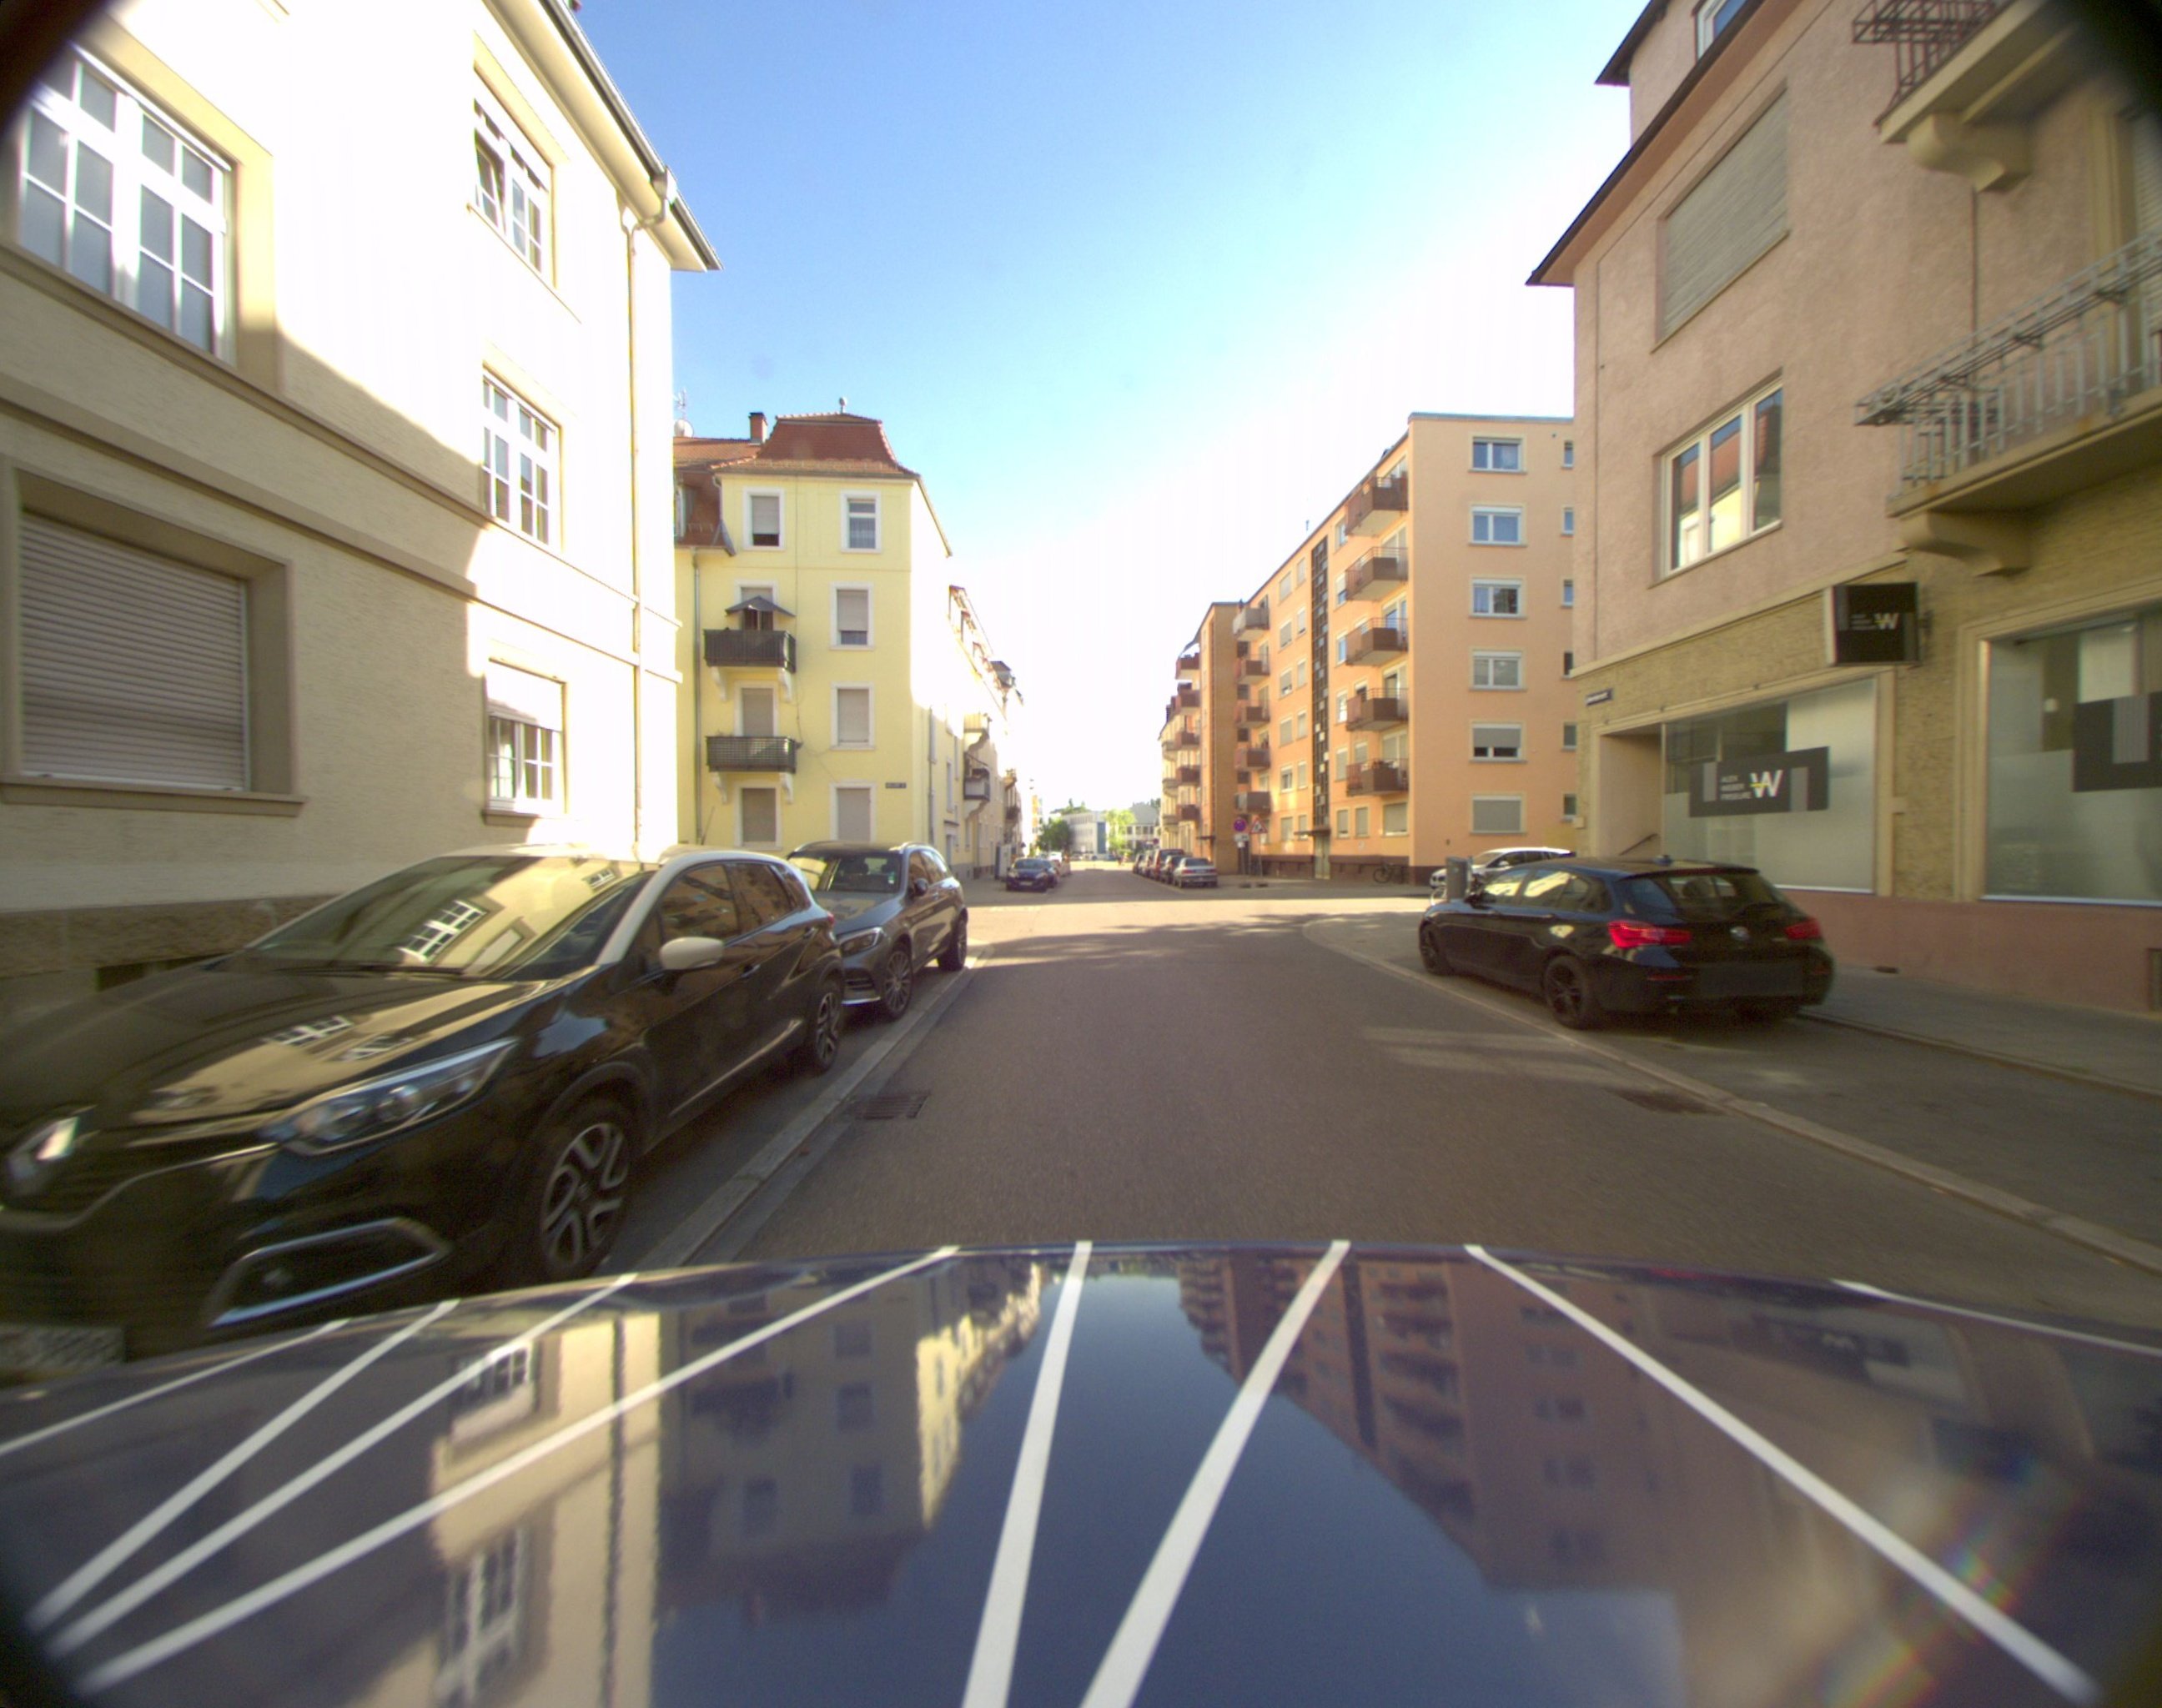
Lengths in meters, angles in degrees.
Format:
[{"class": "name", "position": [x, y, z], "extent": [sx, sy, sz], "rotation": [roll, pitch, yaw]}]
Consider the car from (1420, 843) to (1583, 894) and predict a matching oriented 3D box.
[{"class": "car", "position": [13.686, 0.457, 24.845], "extent": [4.454, 1.551, 1.780], "rotation": [-1, 0, -7]}]

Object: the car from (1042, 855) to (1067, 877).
[{"class": "car", "position": [-1.905, 0.850, 55.959], "extent": [1.708, 1.417, 3.721], "rotation": [1, 1, 0]}]

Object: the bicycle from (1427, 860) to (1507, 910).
[{"class": "bicycle", "position": [9.264, 0.734, 18.252], "extent": [1.664, 1.140, 0.593], "rotation": [-1, 1, -5]}]

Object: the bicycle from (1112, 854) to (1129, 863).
[{"class": "bicycle", "position": [4.983, 0.577, 95.378], "extent": [2.020, 1.041, 0.730], "rotation": [-1, 1, 0]}]

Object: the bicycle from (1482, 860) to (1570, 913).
[{"class": "bicycle", "position": [9.941, 0.720, 16.974], "extent": [1.861, 1.140, 0.435], "rotation": [-1, 1, -10]}]

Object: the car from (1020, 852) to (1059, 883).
[{"class": "car", "position": [-2.023, 0.638, 37.778], "extent": [1.708, 1.417, 3.721], "rotation": [1, 1, 0]}]

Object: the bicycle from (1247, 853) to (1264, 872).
[{"class": "bicycle", "position": [10.731, 0.512, 46.826], "extent": [0.494, 1.101, 1.805], "rotation": [-1, 0, -6]}]

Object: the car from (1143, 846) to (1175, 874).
[{"class": "car", "position": [5.295, 0.378, 52.146], "extent": [1.822, 1.867, 4.111], "rotation": [-1, 0, 1]}]

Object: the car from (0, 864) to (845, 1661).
[{"class": "car", "position": [-2.614, 0.852, 3.513], "extent": [1.684, 1.537, 3.915], "rotation": [1, 0, 2]}]

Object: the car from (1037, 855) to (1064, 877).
[{"class": "car", "position": [-2.018, 0.791, 51.152], "extent": [1.708, 1.417, 3.722], "rotation": [-1, 0, 0]}]

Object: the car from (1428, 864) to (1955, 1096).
[{"class": "car", "position": [4.933, 0.868, 6.976], "extent": [1.719, 1.378, 3.865], "rotation": [-4, 0, 1]}]

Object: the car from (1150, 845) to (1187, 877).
[{"class": "car", "position": [5.277, 0.398, 46.229], "extent": [1.822, 1.867, 4.111], "rotation": [-1, 0, 1]}]

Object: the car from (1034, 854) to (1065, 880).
[{"class": "car", "position": [-1.809, 0.718, 44.125], "extent": [1.708, 1.417, 3.721], "rotation": [0, 0, -1]}]

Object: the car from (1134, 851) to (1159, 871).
[{"class": "car", "position": [5.419, 0.593, 63.094], "extent": [1.822, 1.589, 3.812], "rotation": [-1, 0, 1]}]

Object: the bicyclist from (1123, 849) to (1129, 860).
[{"class": "bicyclist", "position": [5.593, 0.055, 94.276], "extent": [0.743, 1.388, 0.726], "rotation": [-1, 1, 1]}]

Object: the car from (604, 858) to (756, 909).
[{"class": "car", "position": [-11.437, 0.832, 21.860], "extent": [3.509, 1.371, 1.646], "rotation": [-1, -1, -6]}]

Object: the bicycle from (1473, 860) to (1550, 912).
[{"class": "bicycle", "position": [9.935, 0.726, 17.541], "extent": [1.664, 1.140, 0.435], "rotation": [-1, 1, -11]}]

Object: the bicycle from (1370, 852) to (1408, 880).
[{"class": "bicycle", "position": [12.590, 0.464, 31.112], "extent": [0.688, 1.101, 1.805], "rotation": [-1, 0, -6]}]

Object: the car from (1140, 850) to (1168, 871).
[{"class": "car", "position": [5.595, 0.474, 58.581], "extent": [1.822, 1.589, 3.812], "rotation": [-1, 0, 1]}]

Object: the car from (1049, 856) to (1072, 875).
[{"class": "car", "position": [-1.649, 0.881, 61.295], "extent": [1.708, 1.417, 3.721], "rotation": [1, 1, 0]}]

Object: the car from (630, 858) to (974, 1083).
[{"class": "car", "position": [-2.419, 0.894, 7.944], "extent": [1.791, 1.655, 4.435], "rotation": [-1, 0, 2]}]

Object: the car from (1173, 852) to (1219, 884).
[{"class": "car", "position": [5.319, 0.634, 35.532], "extent": [1.678, 1.414, 3.500], "rotation": [-1, 0, 1]}]

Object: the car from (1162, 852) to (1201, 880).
[{"class": "car", "position": [5.320, 0.615, 40.465], "extent": [1.678, 1.414, 3.286], "rotation": [-1, 0, 1]}]

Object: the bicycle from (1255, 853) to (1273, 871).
[{"class": "bicycle", "position": [11.287, 0.498, 46.865], "extent": [0.494, 1.101, 1.805], "rotation": [-1, 0, -6]}]

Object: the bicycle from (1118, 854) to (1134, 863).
[{"class": "bicycle", "position": [5.570, 0.582, 94.276], "extent": [2.020, 1.041, 0.730], "rotation": [-1, 1, 0]}]

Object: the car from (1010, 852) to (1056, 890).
[{"class": "car", "position": [-1.973, 0.674, 32.312], "extent": [1.708, 1.417, 3.721], "rotation": [1, 1, 0]}]
